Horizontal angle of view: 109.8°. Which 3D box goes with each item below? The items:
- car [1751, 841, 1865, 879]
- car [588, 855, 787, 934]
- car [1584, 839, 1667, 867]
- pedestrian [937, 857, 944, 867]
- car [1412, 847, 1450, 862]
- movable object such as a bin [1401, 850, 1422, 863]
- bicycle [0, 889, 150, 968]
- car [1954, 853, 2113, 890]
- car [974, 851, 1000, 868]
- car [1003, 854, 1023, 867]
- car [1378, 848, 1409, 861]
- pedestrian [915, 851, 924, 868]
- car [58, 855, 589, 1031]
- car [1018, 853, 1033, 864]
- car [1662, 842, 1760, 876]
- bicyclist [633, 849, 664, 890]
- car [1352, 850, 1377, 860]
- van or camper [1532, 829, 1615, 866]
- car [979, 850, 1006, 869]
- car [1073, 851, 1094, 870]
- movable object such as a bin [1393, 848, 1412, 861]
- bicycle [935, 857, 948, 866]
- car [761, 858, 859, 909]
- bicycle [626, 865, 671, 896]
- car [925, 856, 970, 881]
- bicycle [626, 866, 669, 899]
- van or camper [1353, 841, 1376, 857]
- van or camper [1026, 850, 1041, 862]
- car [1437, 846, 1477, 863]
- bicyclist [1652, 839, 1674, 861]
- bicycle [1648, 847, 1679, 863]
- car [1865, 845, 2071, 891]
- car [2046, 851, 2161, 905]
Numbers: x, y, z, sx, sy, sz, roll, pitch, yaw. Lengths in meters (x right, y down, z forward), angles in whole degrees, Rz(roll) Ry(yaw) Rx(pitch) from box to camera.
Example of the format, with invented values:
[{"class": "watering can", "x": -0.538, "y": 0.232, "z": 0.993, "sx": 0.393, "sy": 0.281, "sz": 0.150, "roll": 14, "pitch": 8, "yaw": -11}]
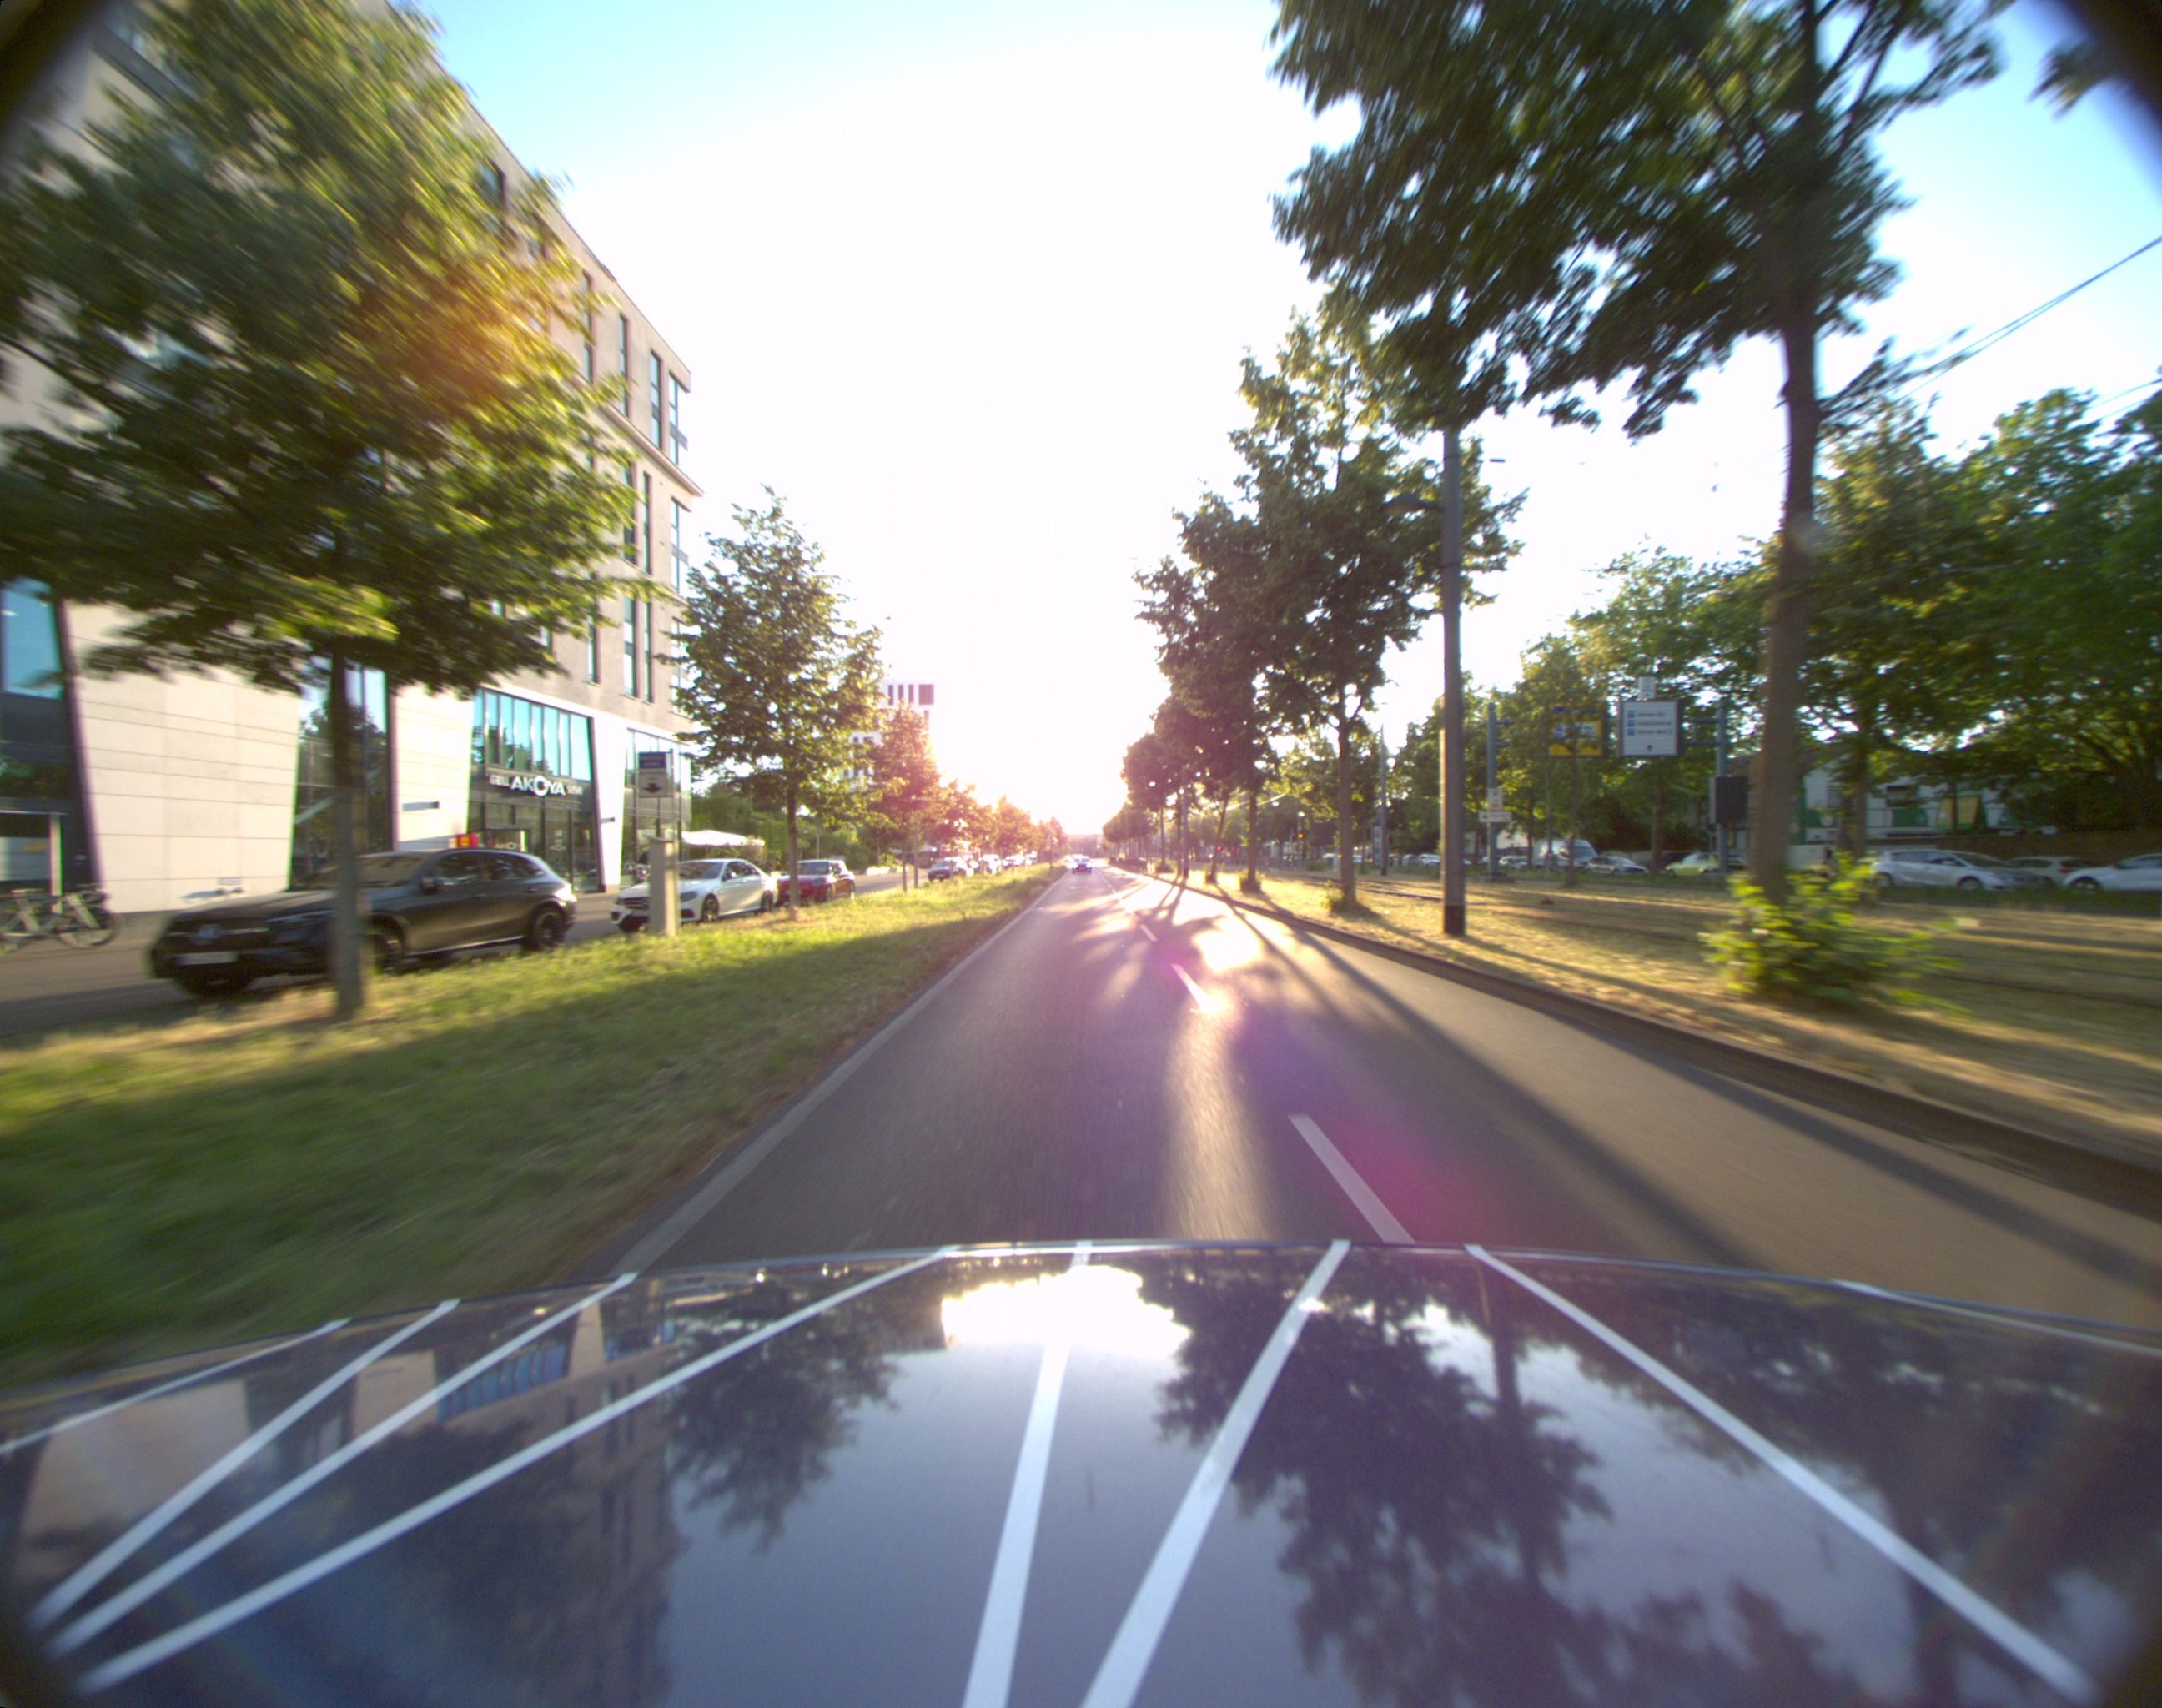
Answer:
[{"class": "car", "x": 41.752, "y": 0.325, "z": 43.826, "sx": 1.998, "sy": 2.002, "sz": 5.060, "roll": -1, "pitch": 0, "yaw": 4}, {"class": "car", "x": -8.670, "y": 0.798, "z": 17.369, "sx": 1.926, "sy": 1.492, "sz": 5.009, "roll": -1, "pitch": 0, "yaw": 0}, {"class": "car", "x": 32.930, "y": -0.050, "z": 46.104, "sx": 1.999, "sy": 1.627, "sz": 4.208, "roll": 0, "pitch": 0, "yaw": -1}, {"class": "pedestrian", "x": -18.046, "y": 1.025, "z": 97.594, "sx": 0.745, "sy": 1.360, "sz": 0.770, "roll": -1, "pitch": 1, "yaw": -11}, {"class": "car", "x": 35.038, "y": 0.060, "z": 76.208, "sx": 1.998, "sy": 1.491, "sz": 4.299, "roll": -1, "pitch": 0, "yaw": 2}, {"class": "movable object such as a bin", "x": 34.931, "y": 0.270, "z": 80.283, "sx": 1.556, "sy": 1.364, "sz": 1.724, "roll": -1, "pitch": 0, "yaw": 2}, {"class": "bicycle", "x": -15.760, "y": 1.110, "z": 11.471, "sx": 0.621, "sy": 1.027, "sz": 2.261, "roll": 0, "pitch": 1, "yaw": -1}, {"class": "car", "x": 40.589, "y": 0.706, "z": 32.566, "sx": 1.864, "sy": 1.483, "sz": 4.050, "roll": 0, "pitch": 0, "yaw": 4}, {"class": "car", "x": -8.216, "y": 0.470, "z": 66.488, "sx": 1.754, "sy": 1.390, "sz": 3.999, "roll": -2, "pitch": 0, "yaw": 0}, {"class": "car", "x": -8.385, "y": 0.746, "z": 93.977, "sx": 1.924, "sy": 1.492, "sz": 5.410, "roll": -1, "pitch": 0, "yaw": 0}, {"class": "car", "x": 36.186, "y": 0.095, "z": 88.117, "sx": 1.998, "sy": 1.440, "sz": 4.000, "roll": -1, "pitch": 0, "yaw": 2}, {"class": "pedestrian", "x": -16.424, "y": 0.547, "z": 77.266, "sx": 0.696, "sy": 1.645, "sz": 1.078, "roll": -1, "pitch": 0, "yaw": 0}, {"class": "car", "x": -8.949, "y": 0.870, "z": 9.825, "sx": 1.958, "sy": 1.614, "sz": 4.820, "roll": -3, "pitch": 0, "yaw": 0}, {"class": "car", "x": -7.866, "y": 0.586, "z": 108.591, "sx": 1.813, "sy": 1.492, "sz": 4.479, "roll": -1, "pitch": 0, "yaw": 0}, {"class": "car", "x": 31.919, "y": 0.220, "z": 38.645, "sx": 1.997, "sy": 1.630, "sz": 4.002, "roll": 0, "pitch": 0, "yaw": 8}, {"class": "bicyclist", "x": -16.762, "y": 0.594, "z": 29.463, "sx": 0.545, "sy": 1.559, "sz": 1.020, "roll": -1, "pitch": 1, "yaw": 4}, {"class": "car", "x": 37.159, "y": 0.141, "z": 99.677, "sx": 1.998, "sy": 1.194, "sz": 4.089, "roll": -1, "pitch": 0, "yaw": 2}, {"class": "van or camper", "x": 33.344, "y": -0.449, "z": 51.711, "sx": 2.289, "sy": 2.351, "sz": 5.784, "roll": -1, "pitch": 0, "yaw": 5}, {"class": "car", "x": -8.277, "y": 0.518, "z": 71.455, "sx": 1.813, "sy": 1.622, "sz": 4.675, "roll": -5, "pitch": 0, "yaw": 0}, {"class": "car", "x": 0.232, "y": 0.542, "z": 68.262, "sx": 1.828, "sy": 1.625, "sz": 4.000, "roll": -1, "pitch": 0, "yaw": 0}, {"class": "movable object such as a bin", "x": 35.153, "y": 0.048, "z": 83.202, "sx": 1.412, "sy": 1.403, "sz": 1.701, "roll": -1, "pitch": 0, "yaw": 2}, {"class": "bicycle", "x": -15.930, "y": 0.864, "z": 86.893, "sx": 0.544, "sy": 1.037, "sz": 1.915, "roll": 0, "pitch": 1, "yaw": 20}, {"class": "car", "x": -8.777, "y": 0.905, "z": 24.993, "sx": 1.813, "sy": 1.492, "sz": 3.959, "roll": -1, "pitch": 0, "yaw": 0}, {"class": "bicycle", "x": -16.758, "y": 0.999, "z": 29.513, "sx": 0.544, "sy": 1.111, "sz": 1.913, "roll": -1, "pitch": 0, "yaw": 4}, {"class": "car", "x": -8.396, "y": 0.861, "z": 48.240, "sx": 1.812, "sy": 1.492, "sz": 4.369, "roll": 0, "pitch": 0, "yaw": 4}, {"class": "bicycle", "x": -15.918, "y": 1.017, "z": 27.962, "sx": 0.548, "sy": 1.122, "sz": 1.868, "roll": 1, "pitch": 0, "yaw": -1}, {"class": "van or camper", "x": 48.700, "y": -0.849, "z": 130.757, "sx": 2.397, "sy": 2.548, "sz": 5.635, "roll": 0, "pitch": 0, "yaw": 6}, {"class": "van or camper", "x": -7.839, "y": 0.324, "z": 126.210, "sx": 1.963, "sy": 1.908, "sz": 4.830, "roll": -2, "pitch": 0, "yaw": 1}, {"class": "car", "x": 34.644, "y": 0.069, "z": 70.076, "sx": 1.814, "sy": 1.522, "sz": 4.054, "roll": -1, "pitch": 0, "yaw": 2}, {"class": "bicyclist", "x": 40.506, "y": -0.300, "z": 52.873, "sx": 0.730, "sy": 1.524, "sz": 1.086, "roll": 0, "pitch": 1, "yaw": 6}, {"class": "bicycle", "x": 40.481, "y": 0.065, "z": 52.833, "sx": 0.732, "sy": 1.084, "sz": 2.017, "roll": 0, "pitch": 0, "yaw": 6}, {"class": "car", "x": 30.912, "y": 0.436, "z": 26.745, "sx": 1.998, "sy": 1.490, "sz": 4.557, "roll": 0, "pitch": 1, "yaw": 1}, {"class": "car", "x": 30.721, "y": 0.663, "z": 21.300, "sx": 1.904, "sy": 1.491, "sz": 4.306, "roll": 0, "pitch": 1, "yaw": 1}]
